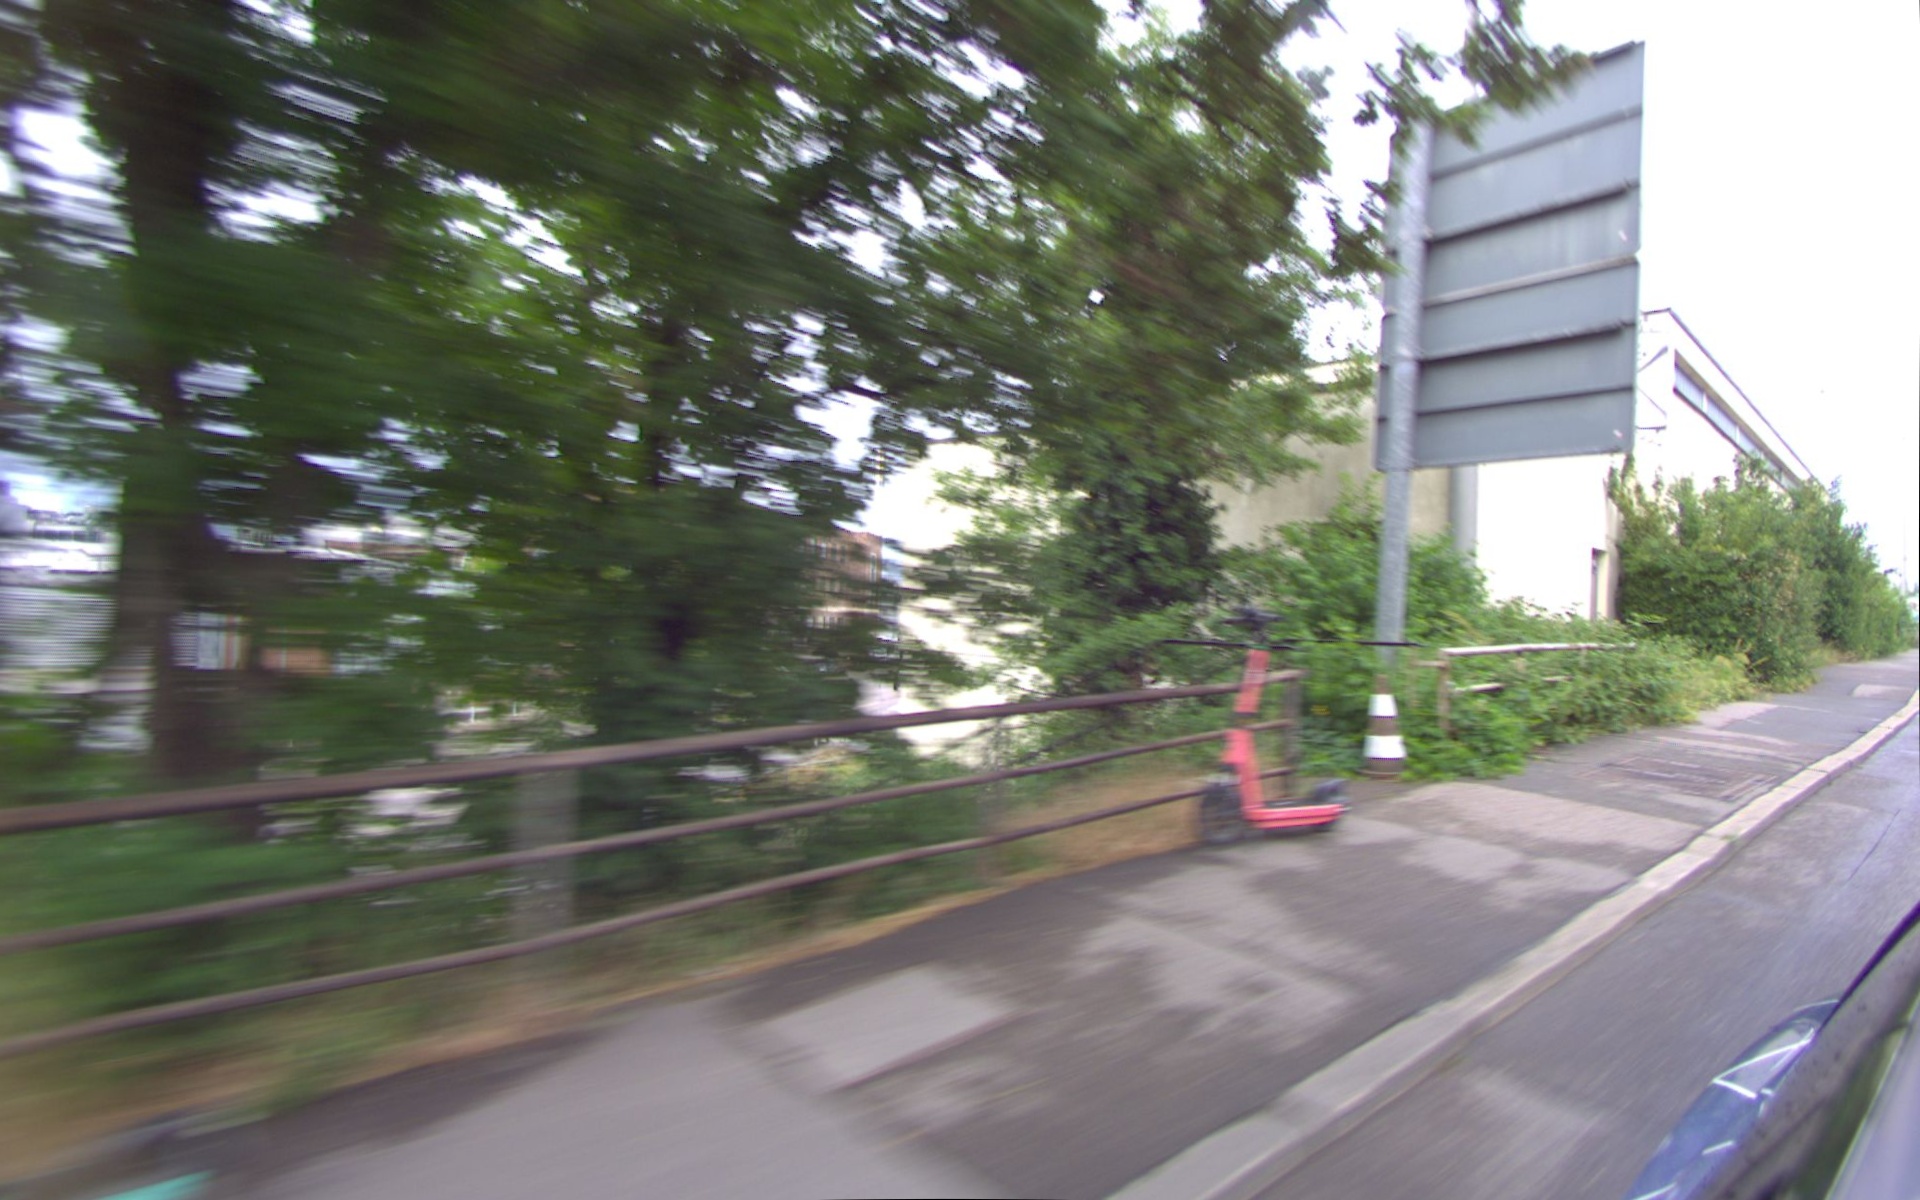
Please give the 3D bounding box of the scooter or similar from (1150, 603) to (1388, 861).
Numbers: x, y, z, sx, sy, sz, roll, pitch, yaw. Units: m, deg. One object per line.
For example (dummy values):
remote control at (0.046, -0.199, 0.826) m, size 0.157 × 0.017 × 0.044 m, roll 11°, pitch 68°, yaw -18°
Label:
scooter or similar at (1.735, 0.640, 5.588) m, size 1.442 × 1.224 × 0.574 m, roll -1°, pitch 0°, yaw -40°
